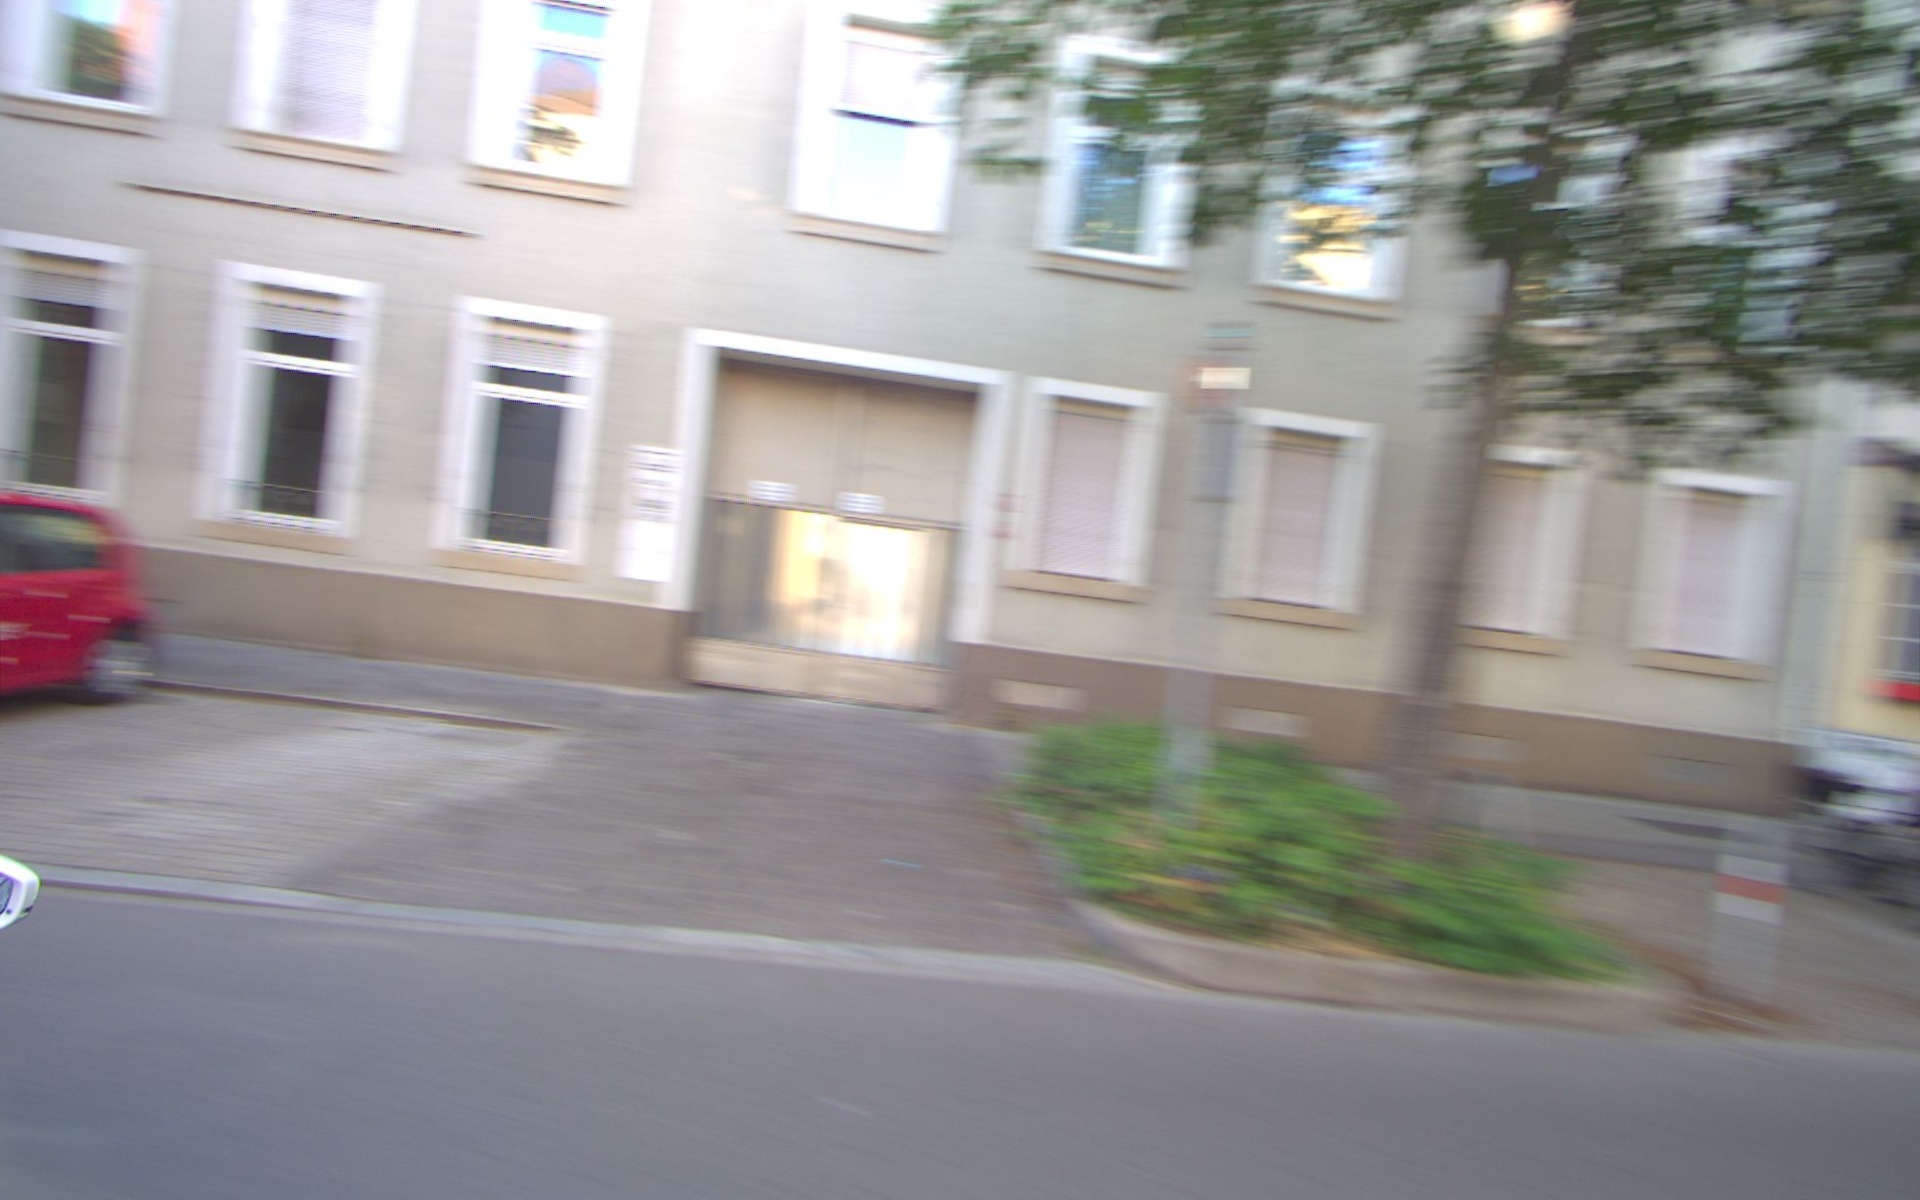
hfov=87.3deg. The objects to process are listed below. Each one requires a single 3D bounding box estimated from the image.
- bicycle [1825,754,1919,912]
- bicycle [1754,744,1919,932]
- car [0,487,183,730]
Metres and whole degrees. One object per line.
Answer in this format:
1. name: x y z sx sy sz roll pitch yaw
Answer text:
1. bicycle: 8.014 1.964 7.898 0.414 1.160 2.040 6 0 -5
2. bicycle: 7.204 1.847 7.718 0.438 1.160 2.041 7 0 -1
3. car: -6.653 -0.017 5.886 1.538 1.494 3.662 7 1 -6
